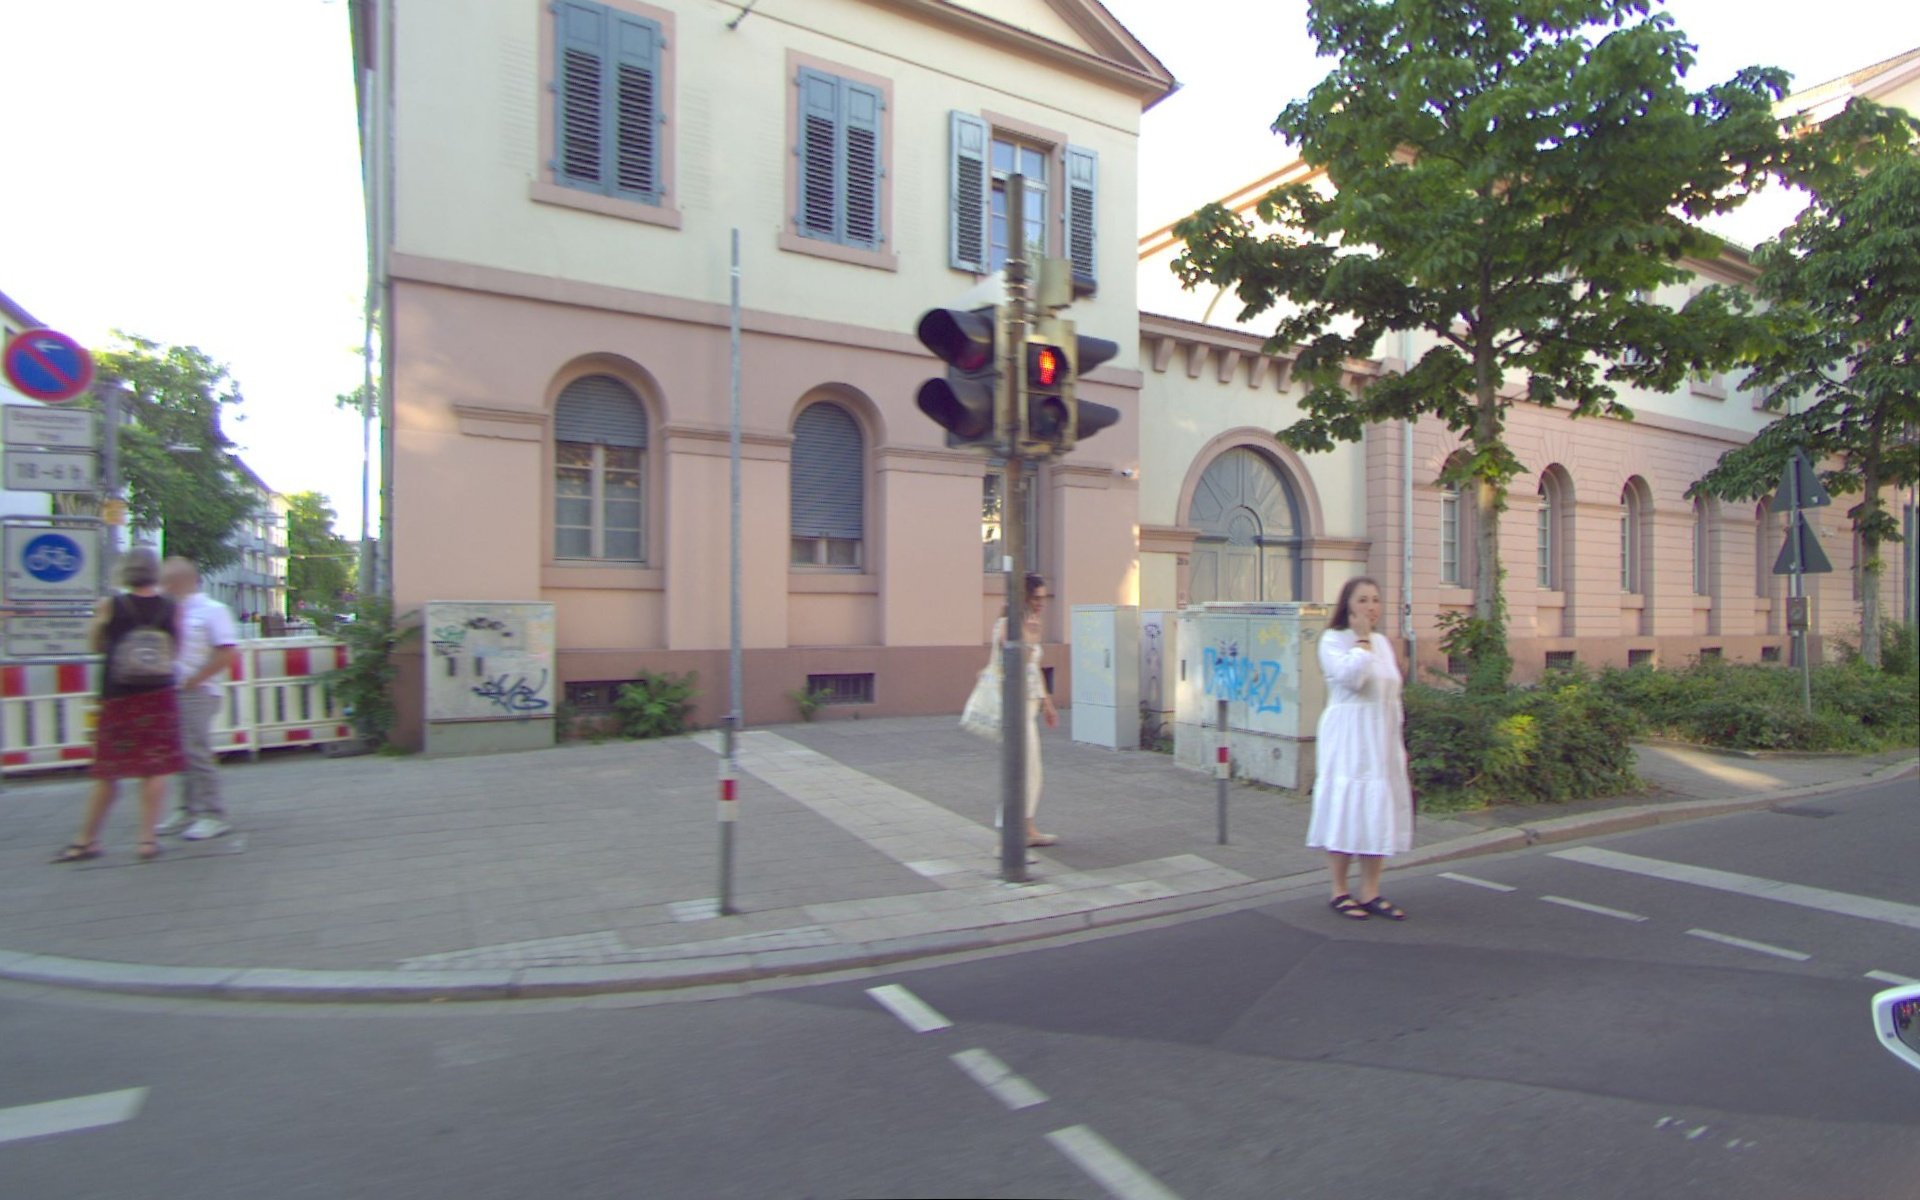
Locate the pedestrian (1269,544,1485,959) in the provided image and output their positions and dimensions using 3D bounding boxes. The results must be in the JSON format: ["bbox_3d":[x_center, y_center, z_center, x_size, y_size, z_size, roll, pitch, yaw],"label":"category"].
[{"bbox_3d":[2.151,0.706,5.188,0.787,1.913,0.761,1,-1,-42],"label":"pedestrian"}]

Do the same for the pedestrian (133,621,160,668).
[{"bbox_3d":[-30.837,1.673,38.096,0.579,1.734,0.650,5,-3,-30],"label":"pedestrian"}]

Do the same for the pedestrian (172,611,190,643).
[{"bbox_3d":[-42.324,1.475,54.596,0.579,1.734,0.650,5,-3,-30],"label":"pedestrian"}]

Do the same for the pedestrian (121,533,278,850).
[{"bbox_3d":[-4.738,0.549,6.295,0.601,1.875,0.554,0,-1,-16],"label":"pedestrian"}]

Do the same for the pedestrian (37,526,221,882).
[{"bbox_3d":[-4.636,0.555,5.645,0.601,1.875,0.554,0,-1,-16],"label":"pedestrian"}]

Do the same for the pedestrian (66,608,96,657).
[{"bbox_3d":[-32.090,1.178,36.659,0.579,1.734,0.650,5,-3,-30],"label":"pedestrian"}]

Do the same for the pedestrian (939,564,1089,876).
[{"bbox_3d":[0.311,0.690,6.272,0.757,1.815,0.791,0,2,-11],"label":"pedestrian"}]
